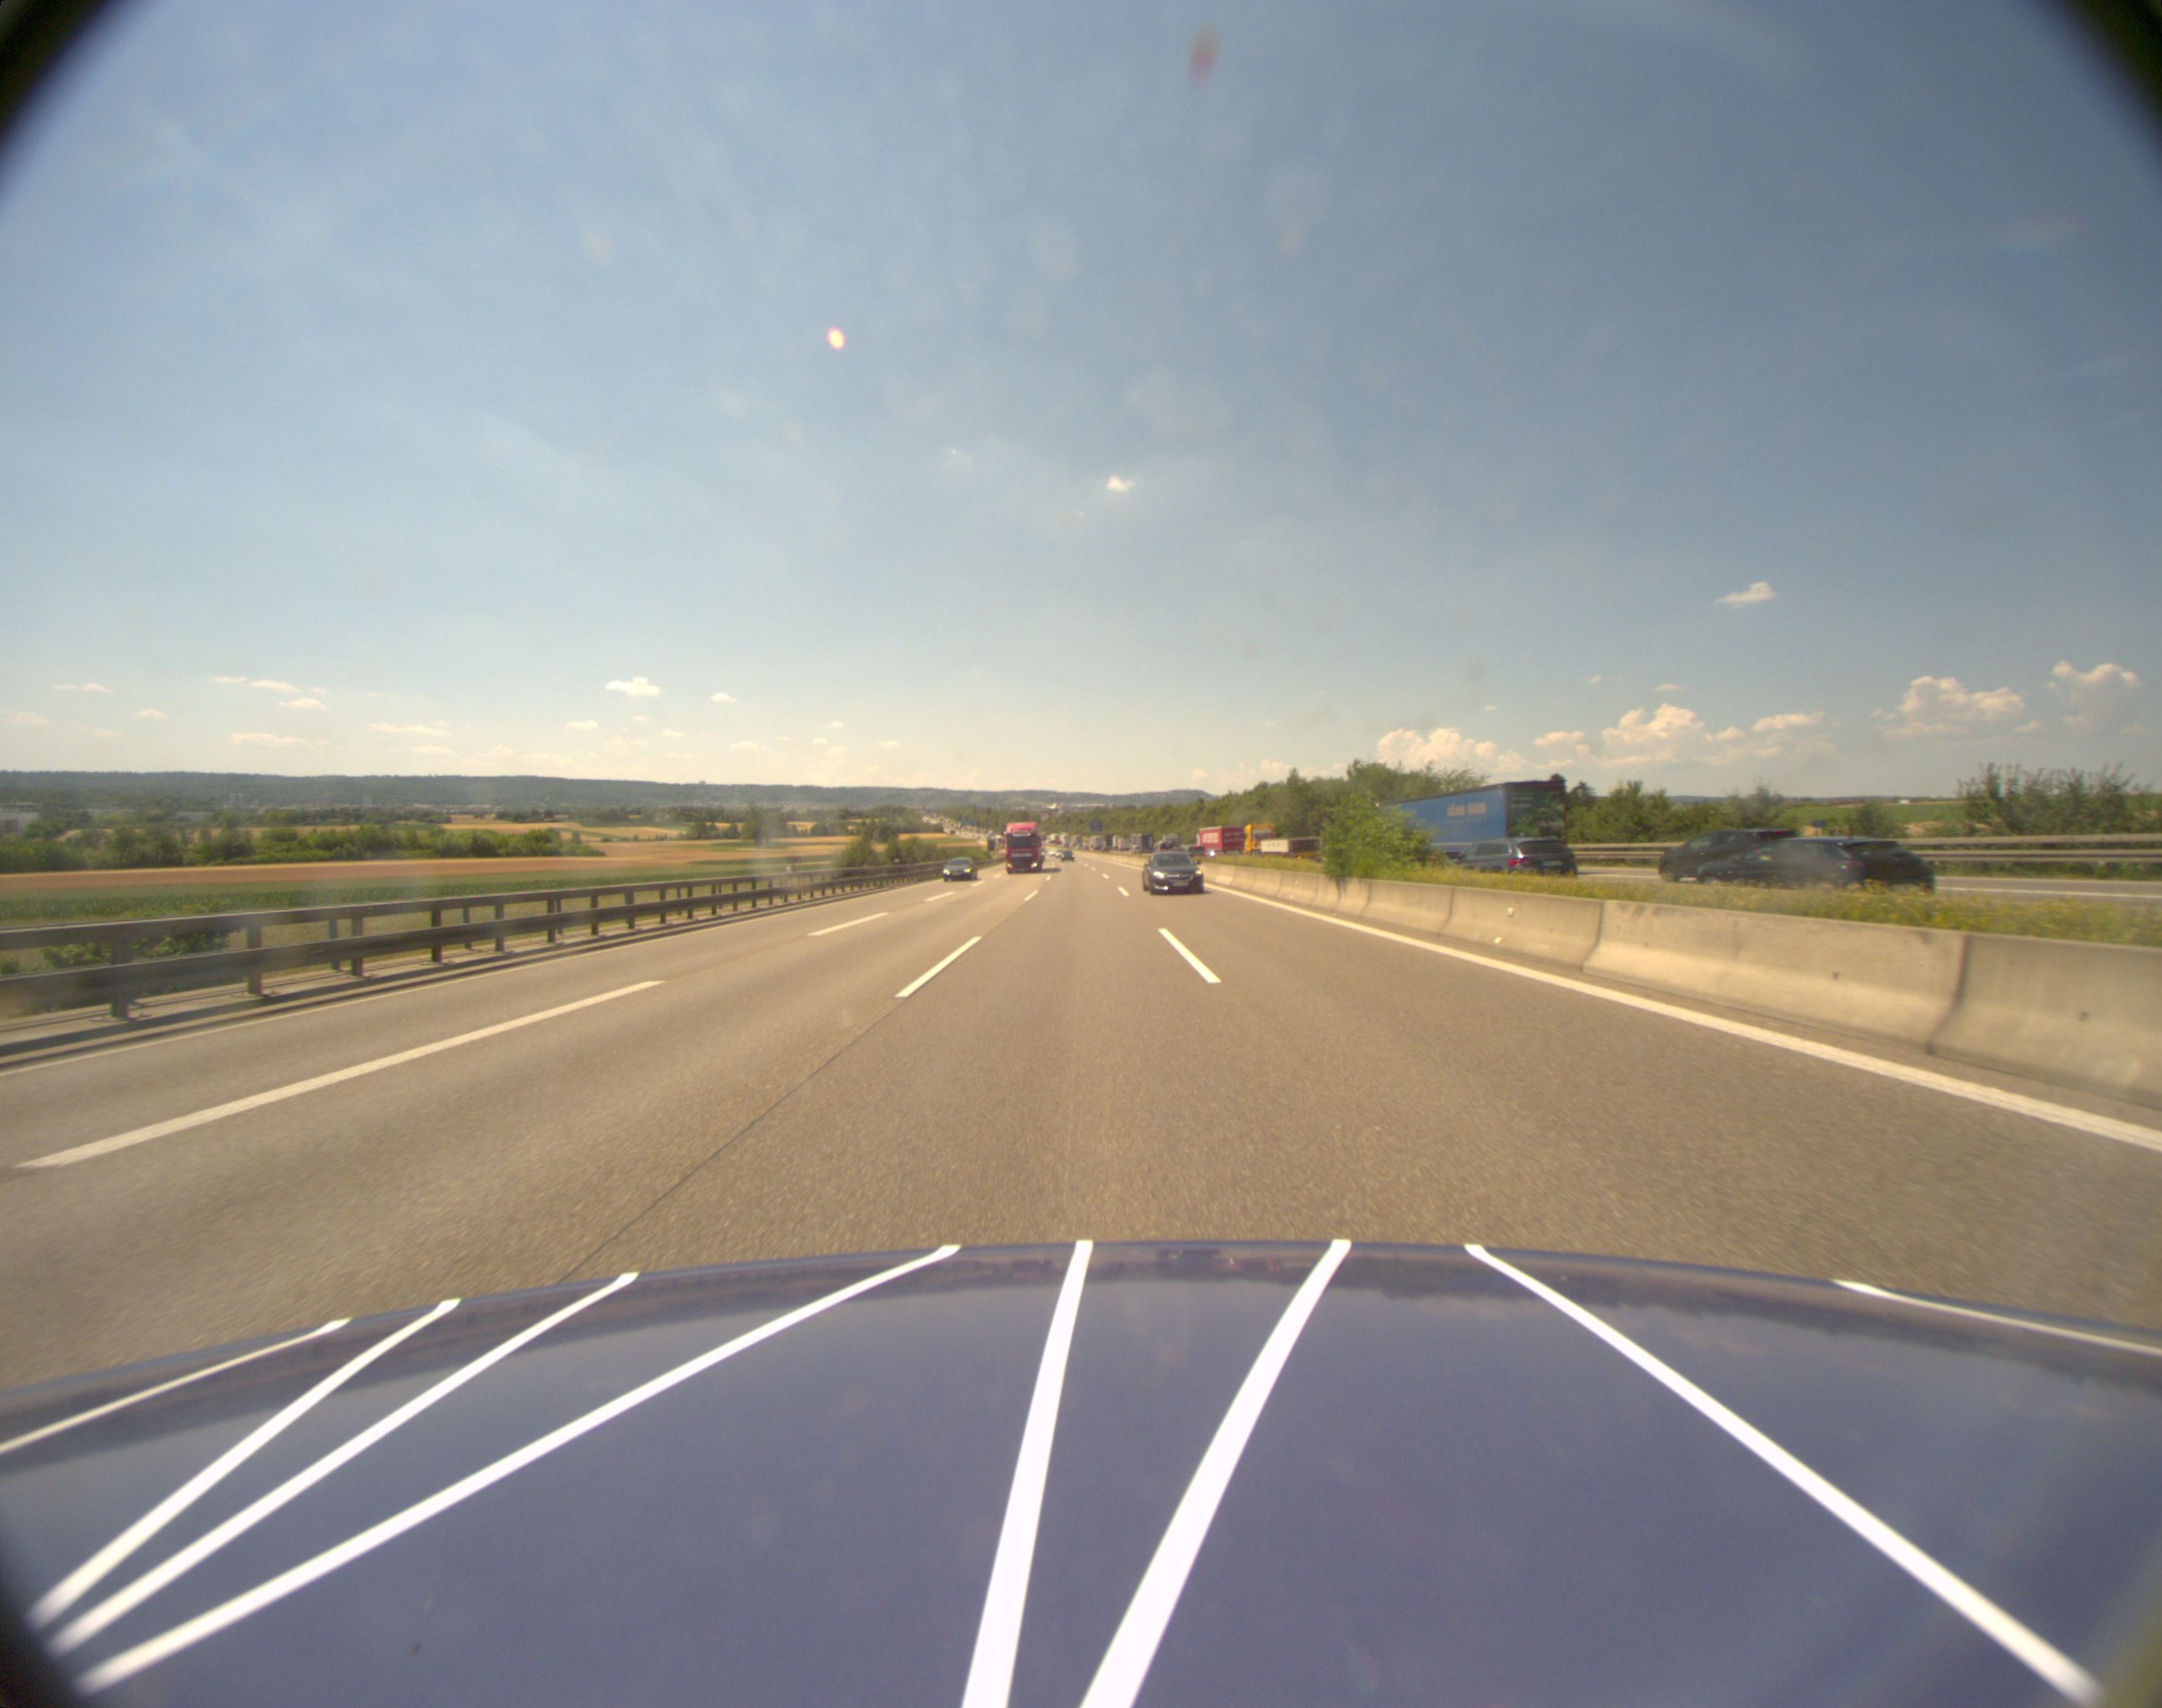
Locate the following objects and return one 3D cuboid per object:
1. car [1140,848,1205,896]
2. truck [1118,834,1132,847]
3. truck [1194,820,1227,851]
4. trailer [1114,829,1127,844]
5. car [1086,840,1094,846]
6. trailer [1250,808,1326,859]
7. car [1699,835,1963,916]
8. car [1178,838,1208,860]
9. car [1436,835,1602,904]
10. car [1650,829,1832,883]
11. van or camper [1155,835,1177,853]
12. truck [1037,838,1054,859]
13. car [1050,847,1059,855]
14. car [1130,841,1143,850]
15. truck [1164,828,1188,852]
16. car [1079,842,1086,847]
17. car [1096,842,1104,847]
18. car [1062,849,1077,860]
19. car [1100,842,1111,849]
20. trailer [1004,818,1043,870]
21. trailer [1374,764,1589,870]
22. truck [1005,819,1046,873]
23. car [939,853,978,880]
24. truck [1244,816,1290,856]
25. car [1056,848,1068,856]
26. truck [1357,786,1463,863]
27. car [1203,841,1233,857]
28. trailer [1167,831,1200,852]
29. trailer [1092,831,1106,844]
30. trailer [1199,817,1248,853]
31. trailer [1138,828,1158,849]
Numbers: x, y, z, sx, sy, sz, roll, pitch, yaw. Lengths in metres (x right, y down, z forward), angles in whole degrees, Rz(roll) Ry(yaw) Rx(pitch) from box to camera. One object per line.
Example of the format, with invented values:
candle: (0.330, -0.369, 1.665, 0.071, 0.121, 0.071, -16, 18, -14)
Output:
car: (3.232, 0.582, 27.615, 1.807, 1.534, 4.749, -2, 1, 1)
truck: (11.492, -3.563, 198.914, 2.546, 3.189, 7.583, -2, 1, -5)
truck: (17.542, -2.484, 103.309, 3.043, 4.058, 6.312, -3, 1, -2)
trailer: (10.981, -4.821, 212.892, 2.928, 4.049, 8.226, -1, 1, -2)
car: (2.678, -3.252, 217.132, 1.843, 1.574, 4.552, -3, 1, -4)
trailer: (18.698, -1.788, 69.946, 2.960, 4.077, 14.378, -3, 1, 0)
car: (15.104, 0.378, 15.615, 1.629, 1.396, 3.729, -2, 0, -3)
car: (10.630, -0.534, 72.395, 1.918, 1.959, 5.445, -3, 1, -1)
car: (11.761, 0.347, 20.822, 1.999, 1.625, 4.349, -2, 1, 0)
car: (19.514, 0.041, 22.766, 1.662, 1.377, 4.349, -2, 0, 0)
van or camper: (13.057, -1.565, 117.313, 2.317, 2.572, 7.140, -3, 1, -2)
truck: (-5.897, -0.916, 124.631, 2.446, 3.012, 6.910, -3, 3, -5)
car: (-5.934, -0.669, 169.676, 1.999, 1.468, 3.996, -3, 3, -4)
car: (11.052, -1.745, 152.182, 1.919, 1.762, 4.760, -3, 1, -4)
truck: (16.327, -2.401, 131.173, 2.909, 3.855, 6.175, -3, 1, -3)
car: (0.353, -2.982, 242.530, 1.843, 1.278, 4.870, -3, 3, -3)
car: (5.585, -2.861, 226.998, 1.999, 1.519, 4.769, -3, 1, -4)
car: (-1.622, 0.061, 108.374, 1.866, 1.426, 3.996, -2, 3, -5)
car: (5.670, -2.023, 178.935, 2.055, 1.686, 5.252, -3, 1, -3)
trailer: (-5.226, -0.979, 67.869, 2.927, 4.094, 13.847, -3, 2, -5)
trailer: (19.183, -1.642, 38.318, 3.169, 4.170, 14.377, -3, 1, 0)
truck: (-4.586, -0.726, 61.441, 2.925, 3.986, 6.505, -3, 2, -6)
car: (-7.795, 0.786, 48.636, 2.038, 1.543, 3.998, -2, 1, -4)
truck: (18.705, -1.772, 76.854, 2.758, 3.815, 7.097, -3, 1, 0)
car: (-3.667, -0.397, 142.552, 1.867, 1.322, 3.996, -2, 3, -6)
truck: (19.161, -1.646, 44.747, 3.084, 4.067, 6.934, -2, 1, 0)
car: (14.267, -0.542, 79.600, 1.918, 1.532, 5.741, -3, 1, -1)
trailer: (16.709, -2.002, 124.360, 2.866, 3.188, 12.776, -3, 1, -3)
trailer: (5.973, -5.598, 255.402, 2.911, 4.063, 14.433, -2, 2, -5)
trailer: (17.754, -2.335, 96.151, 3.094, 4.077, 14.376, -3, 1, -1)
trailer: (14.364, -3.342, 163.698, 2.994, 4.169, 8.590, -2, 1, -3)
